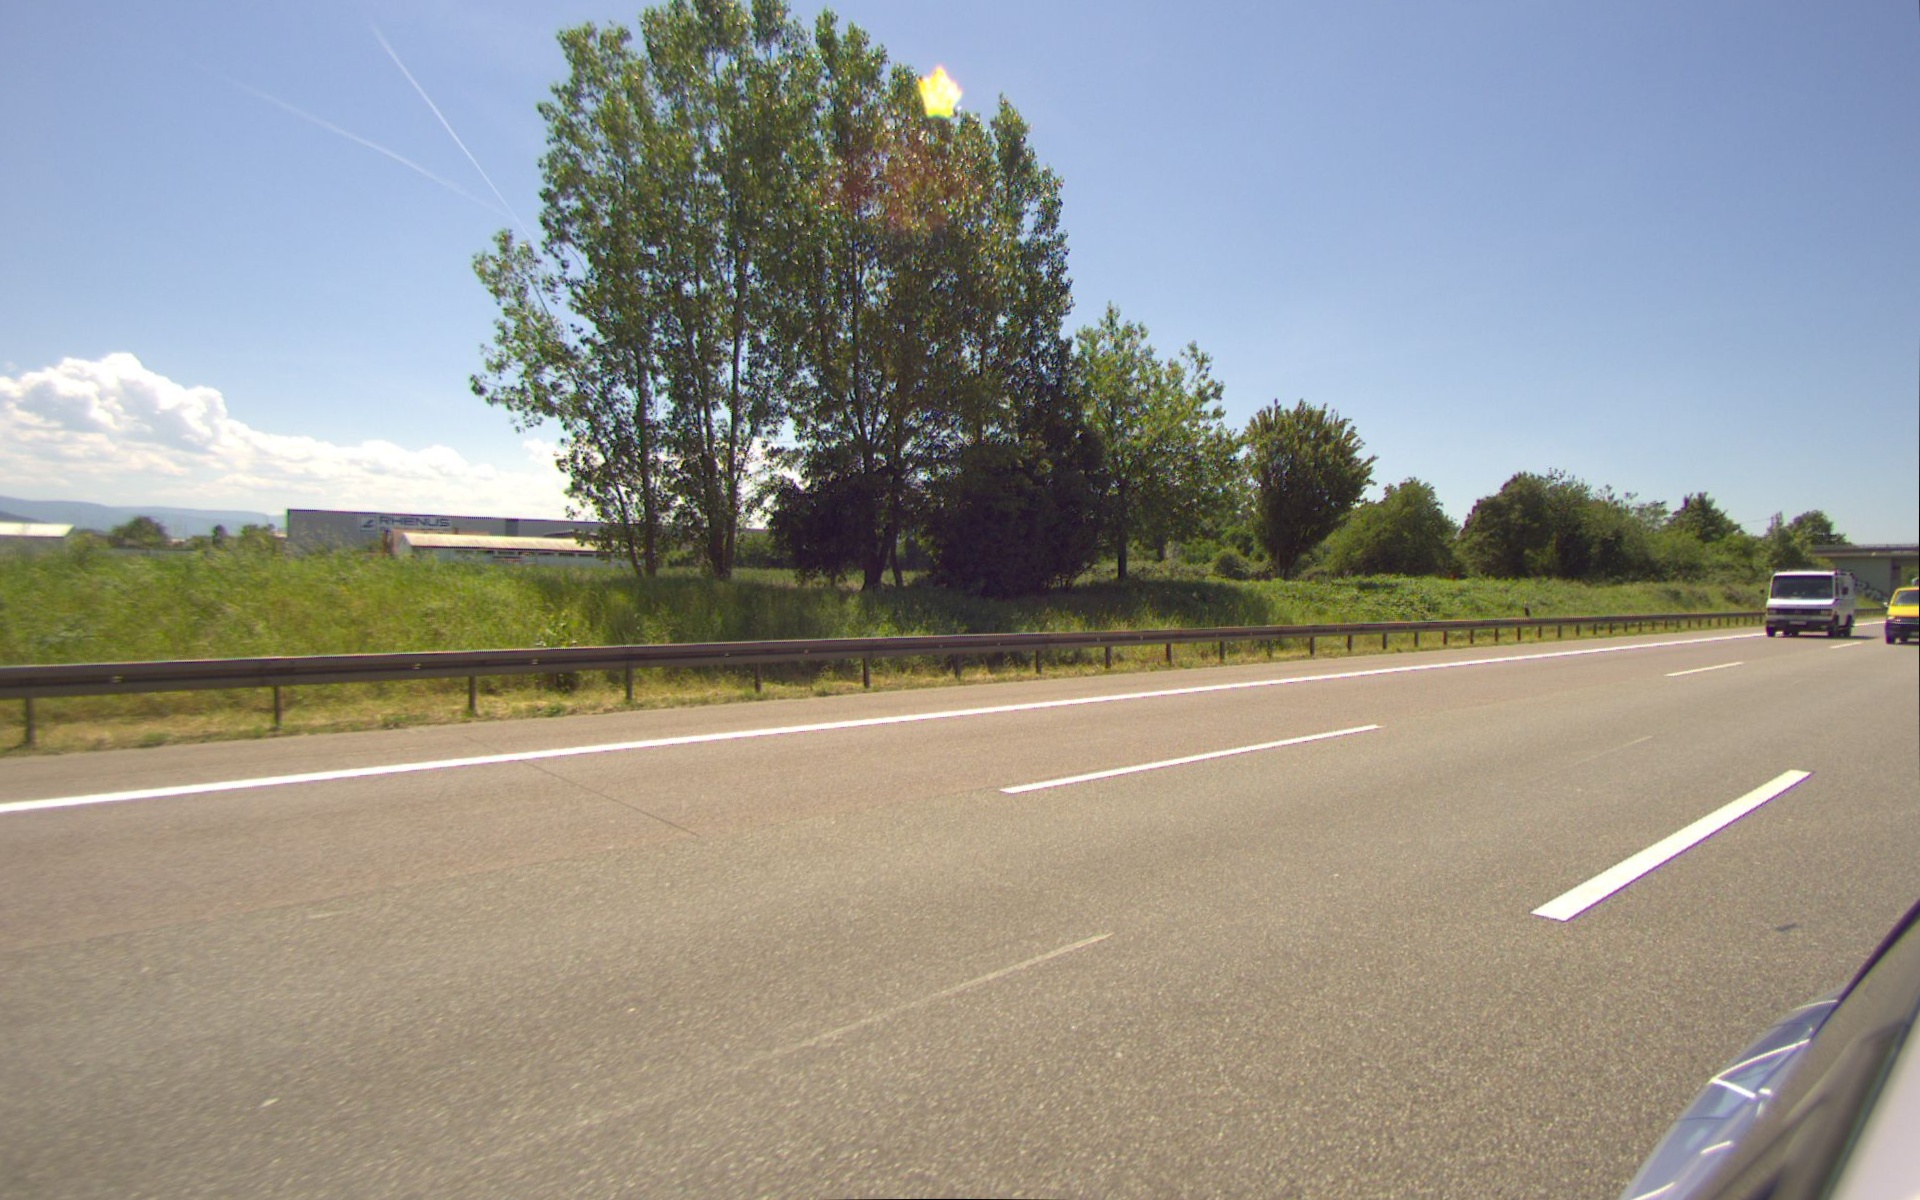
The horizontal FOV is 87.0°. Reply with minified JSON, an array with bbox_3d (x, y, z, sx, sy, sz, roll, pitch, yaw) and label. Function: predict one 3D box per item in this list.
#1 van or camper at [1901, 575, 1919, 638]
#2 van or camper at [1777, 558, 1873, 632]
[{"bbox_3d":[33.655,0.207,34.246,5.781,2.029,2.062,0,1,-41],"label":"van or camper"},{"bbox_3d":[34.525,-0.209,40.334,6.258,2.737,2.116,0,0,-42],"label":"van or camper"}]
